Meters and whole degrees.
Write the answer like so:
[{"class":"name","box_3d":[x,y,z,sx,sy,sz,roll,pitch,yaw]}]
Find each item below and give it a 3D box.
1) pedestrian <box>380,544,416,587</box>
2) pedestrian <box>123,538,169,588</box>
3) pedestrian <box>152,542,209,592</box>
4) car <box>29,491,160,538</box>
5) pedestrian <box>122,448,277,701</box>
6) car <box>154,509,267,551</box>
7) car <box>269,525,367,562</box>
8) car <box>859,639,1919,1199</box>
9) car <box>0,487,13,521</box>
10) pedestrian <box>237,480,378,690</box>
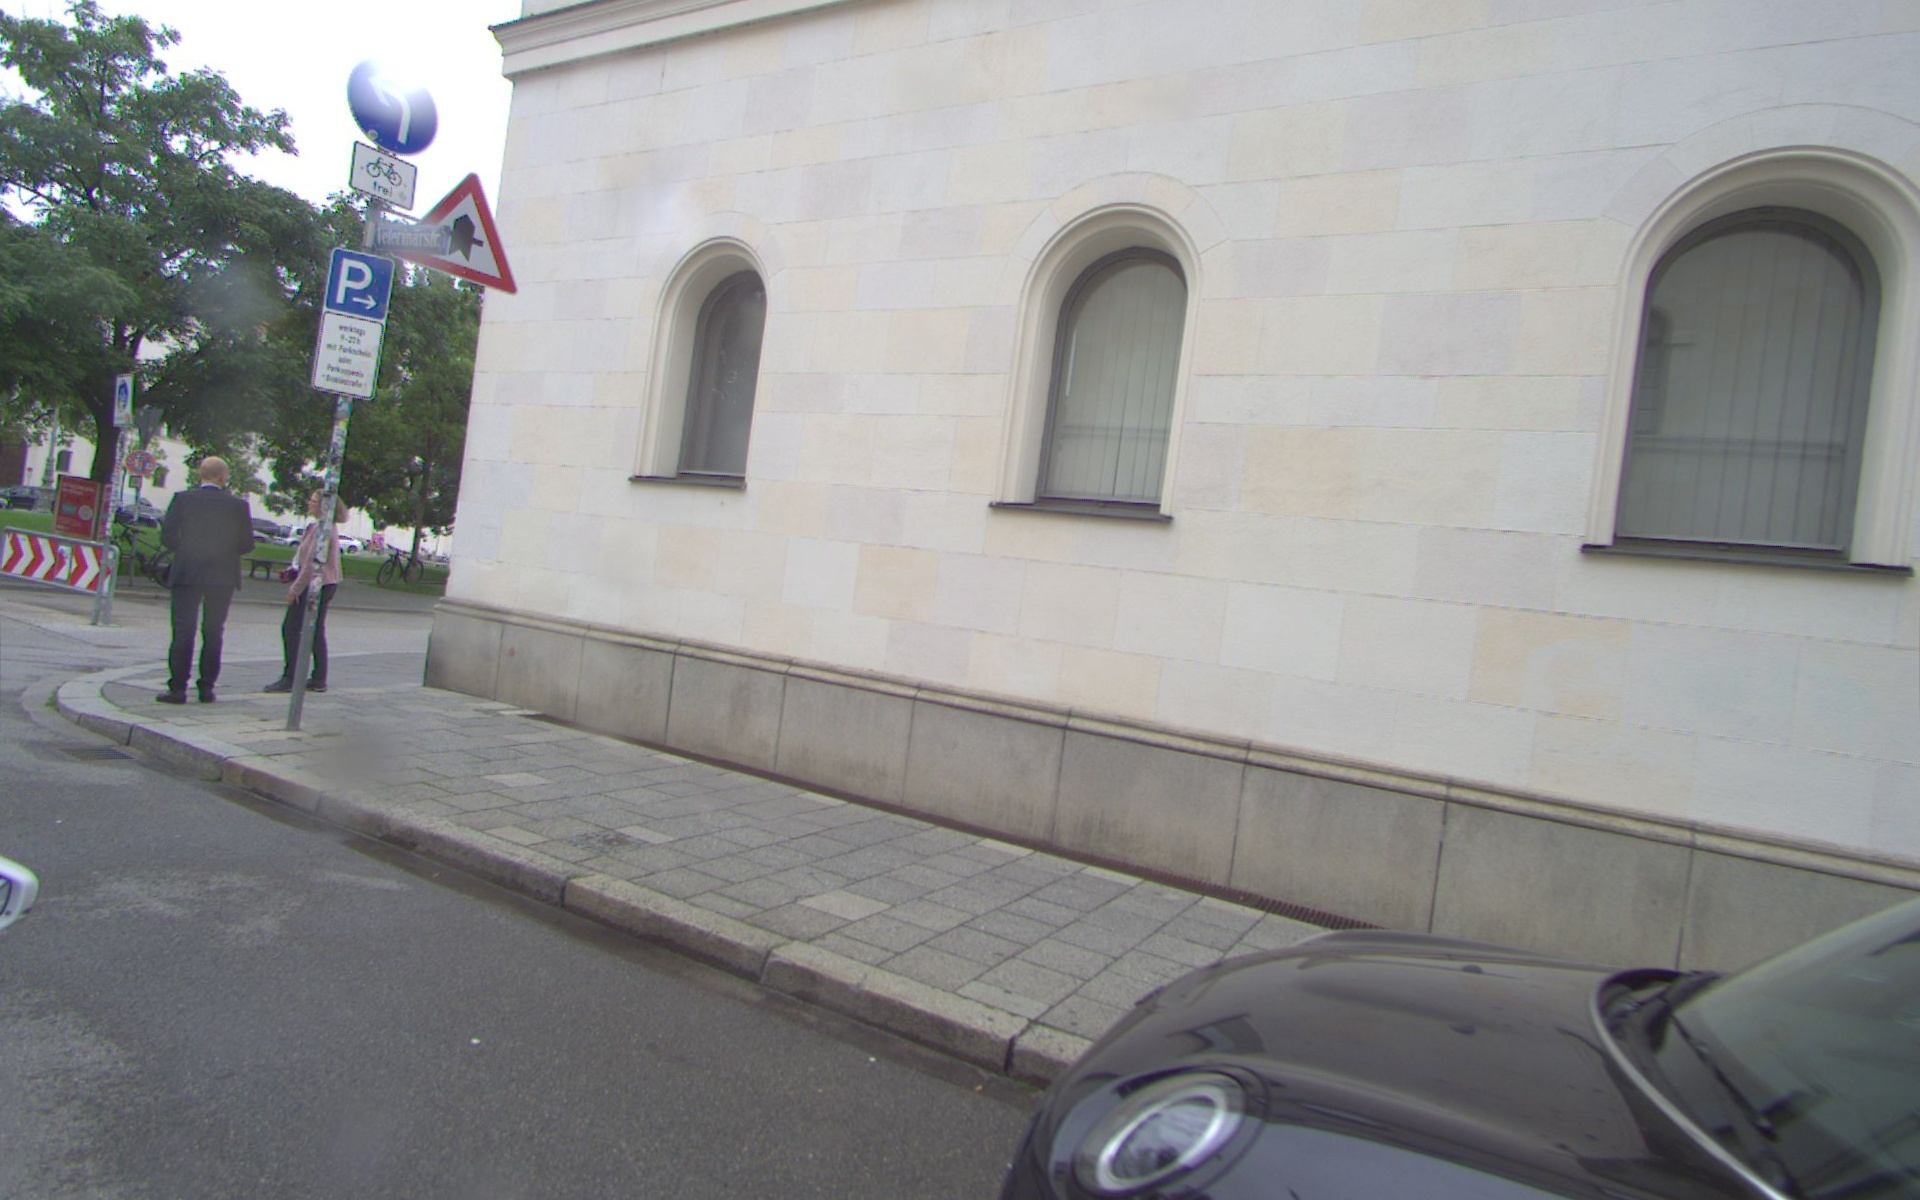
[{"class":"pedestrian","box_3d":[-15.351,-0.942,27.478,0.608,1.078,0.531,8,-1,33]},{"class":"pedestrian","box_3d":[-13.965,-0.632,17.259,0.452,0.771,0.415,8,-1,33]},{"class":"pedestrian","box_3d":[-13.711,-0.580,17.706,0.557,0.771,0.570,8,-1,33]},{"class":"car","box_3d":[-41.815,-4.099,48.703,1.773,1.435,4.366,8,-1,30]},{"class":"pedestrian","box_3d":[-5.807,-0.177,7.692,0.481,1.830,0.642,8,0,34]},{"class":"car","box_3d":[-39.669,-3.677,53.357,1.773,1.435,4.366,8,-1,30]},{"class":"car","box_3d":[-37.104,-3.234,58.227,1.773,1.435,4.366,8,-1,30]},{"class":"car","box_3d":[1.832,1.039,1.240,3.708,1.442,1.543,7,-1,30]},{"class":"car","box_3d":[-44.703,-4.585,44.008,1.773,1.435,4.366,8,-1,30]},{"class":"pedestrian","box_3d":[-5.620,-0.112,8.691,0.535,1.701,0.622,8,-1,23]}]
